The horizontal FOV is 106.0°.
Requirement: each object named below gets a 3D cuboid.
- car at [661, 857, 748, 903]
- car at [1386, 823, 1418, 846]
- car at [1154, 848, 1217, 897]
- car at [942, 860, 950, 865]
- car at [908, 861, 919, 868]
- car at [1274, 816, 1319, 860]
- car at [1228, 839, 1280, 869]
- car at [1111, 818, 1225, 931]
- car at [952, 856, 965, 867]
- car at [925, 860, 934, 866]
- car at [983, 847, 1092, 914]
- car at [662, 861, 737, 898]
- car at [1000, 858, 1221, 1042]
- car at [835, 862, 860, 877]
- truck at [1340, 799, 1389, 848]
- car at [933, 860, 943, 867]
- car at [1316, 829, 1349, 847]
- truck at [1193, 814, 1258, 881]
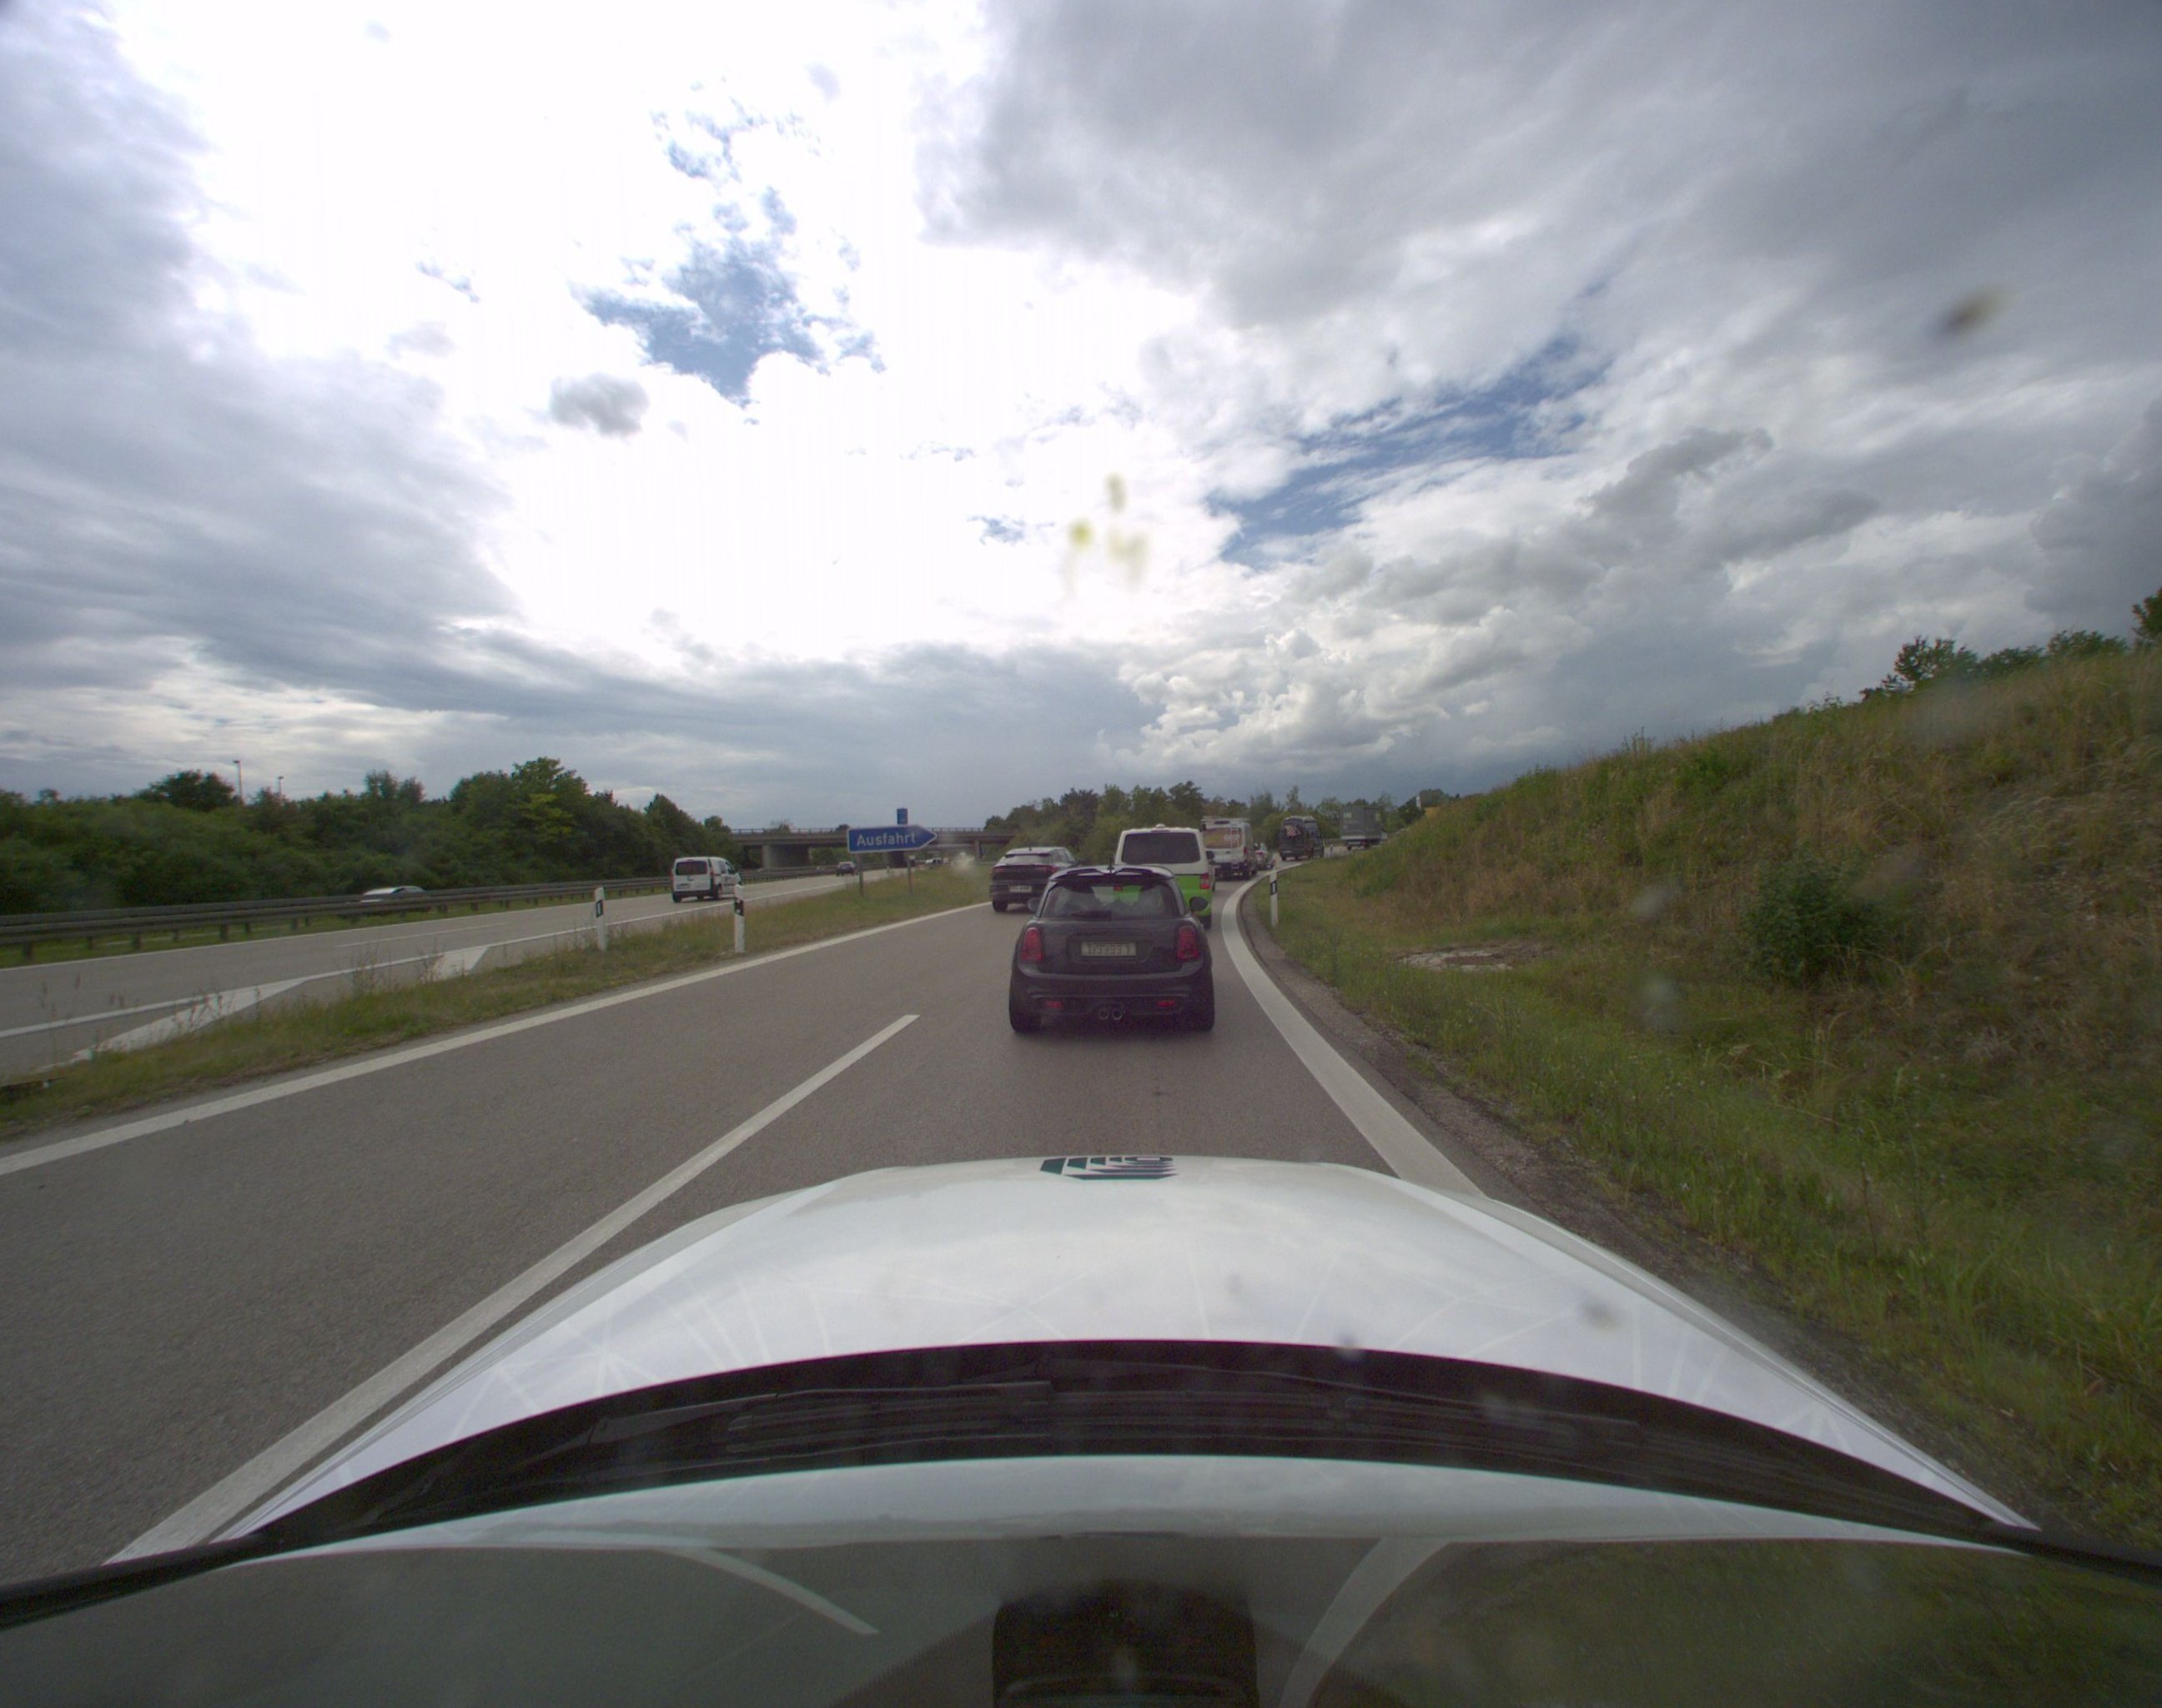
[{"bbox_3d":[-15.679,1.027,34.168,1.874,1.751,4.477,-2,0,-6],"label":"car"},{"bbox_3d":[31.280,-1.875,79.314,1.974,2.014,4.025,-1,-1,35],"label":"car"},{"bbox_3d":[3.402,0.530,25.930,1.751,1.399,3.736,-2,0,10],"label":"car"},{"bbox_3d":[-35.240,2.231,212.378,1.777,1.399,4.022,-2,0,-5],"label":"car"},{"bbox_3d":[-33.669,2.137,163.905,1.777,1.399,4.297,-2,0,-6],"label":"car"},{"bbox_3d":[14.346,-1.058,54.115,2.085,2.796,4.024,-1,0,26],"label":"car"},{"bbox_3d":[9.339,0.006,43.746,1.849,1.510,4.023,-2,0,25],"label":"car"},{"bbox_3d":[1.905,0.371,16.638,1.772,2.013,4.015,-1,0,13],"label":"car"},{"bbox_3d":[-23.084,1.438,153.086,1.996,2.014,3.981,0,-1,-14],"label":"car"},{"bbox_3d":[-36.824,2.231,198.190,1.779,1.399,4.294,-2,0,-8],"label":"car"},{"bbox_3d":[-1.021,0.631,21.580,1.822,1.566,4.511,-2,0,11],"label":"car"},{"bbox_3d":[-20.590,1.302,44.221,1.991,1.785,5.399,-2,0,-6],"label":"car"},{"bbox_3d":[0.286,0.771,8.318,1.721,1.413,3.726,-1,0,1],"label":"car"},{"bbox_3d":[-24.768,1.587,86.491,1.720,1.424,4.786,-2,0,-7],"label":"car"},{"bbox_3d":[24.399,-2.513,69.919,2.207,3.907,6.054,-1,-1,36],"label":"truck"},{"bbox_3d":[-30.557,2.006,174.056,1.777,1.399,4.541,-2,0,-6],"label":"car"},{"bbox_3d":[24.457,-1.528,79.082,1.778,1.556,3.986,-2,-1,37],"label":"car"},{"bbox_3d":[6.393,-0.317,35.530,2.162,2.658,5.131,-2,1,16],"label":"truck"}]
